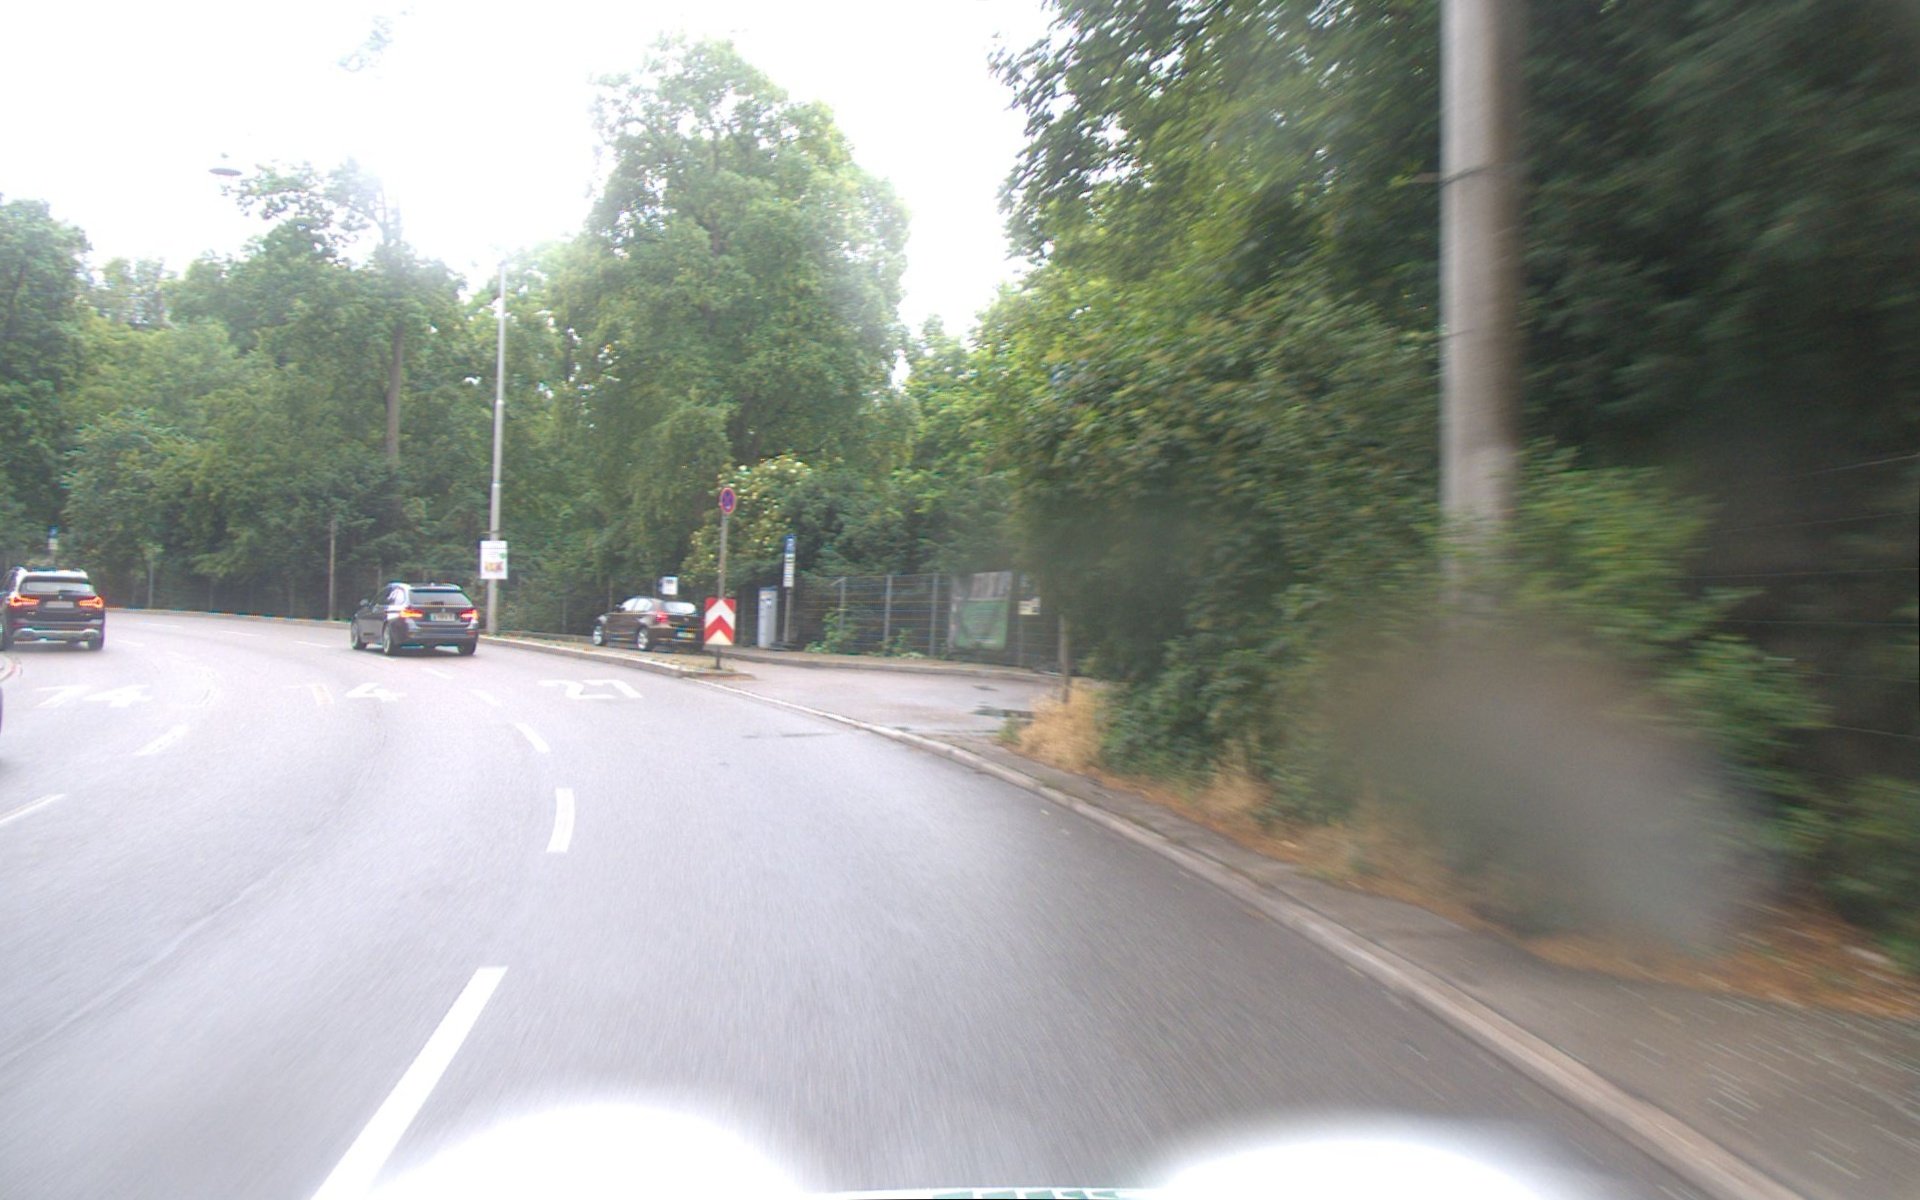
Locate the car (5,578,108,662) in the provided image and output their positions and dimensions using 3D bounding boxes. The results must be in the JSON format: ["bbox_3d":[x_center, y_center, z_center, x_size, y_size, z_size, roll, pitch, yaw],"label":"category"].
[{"bbox_3d":[-18.920,0.363,34.764,1.737,1.613,4.375,0,1,-27],"label":"car"}]

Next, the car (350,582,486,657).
[{"bbox_3d":[-11.497,0.413,34.896,1.741,1.457,4.364,-1,0,-32],"label":"car"}]

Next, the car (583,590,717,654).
[{"bbox_3d":[-8.326,0.563,44.176,1.675,1.451,4.311,5,-2,-38],"label":"car"}]

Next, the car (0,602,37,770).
[{"bbox_3d":[-8.767,0.748,12.710,1.636,1.440,4.526,0,0,-12],"label":"car"}]
